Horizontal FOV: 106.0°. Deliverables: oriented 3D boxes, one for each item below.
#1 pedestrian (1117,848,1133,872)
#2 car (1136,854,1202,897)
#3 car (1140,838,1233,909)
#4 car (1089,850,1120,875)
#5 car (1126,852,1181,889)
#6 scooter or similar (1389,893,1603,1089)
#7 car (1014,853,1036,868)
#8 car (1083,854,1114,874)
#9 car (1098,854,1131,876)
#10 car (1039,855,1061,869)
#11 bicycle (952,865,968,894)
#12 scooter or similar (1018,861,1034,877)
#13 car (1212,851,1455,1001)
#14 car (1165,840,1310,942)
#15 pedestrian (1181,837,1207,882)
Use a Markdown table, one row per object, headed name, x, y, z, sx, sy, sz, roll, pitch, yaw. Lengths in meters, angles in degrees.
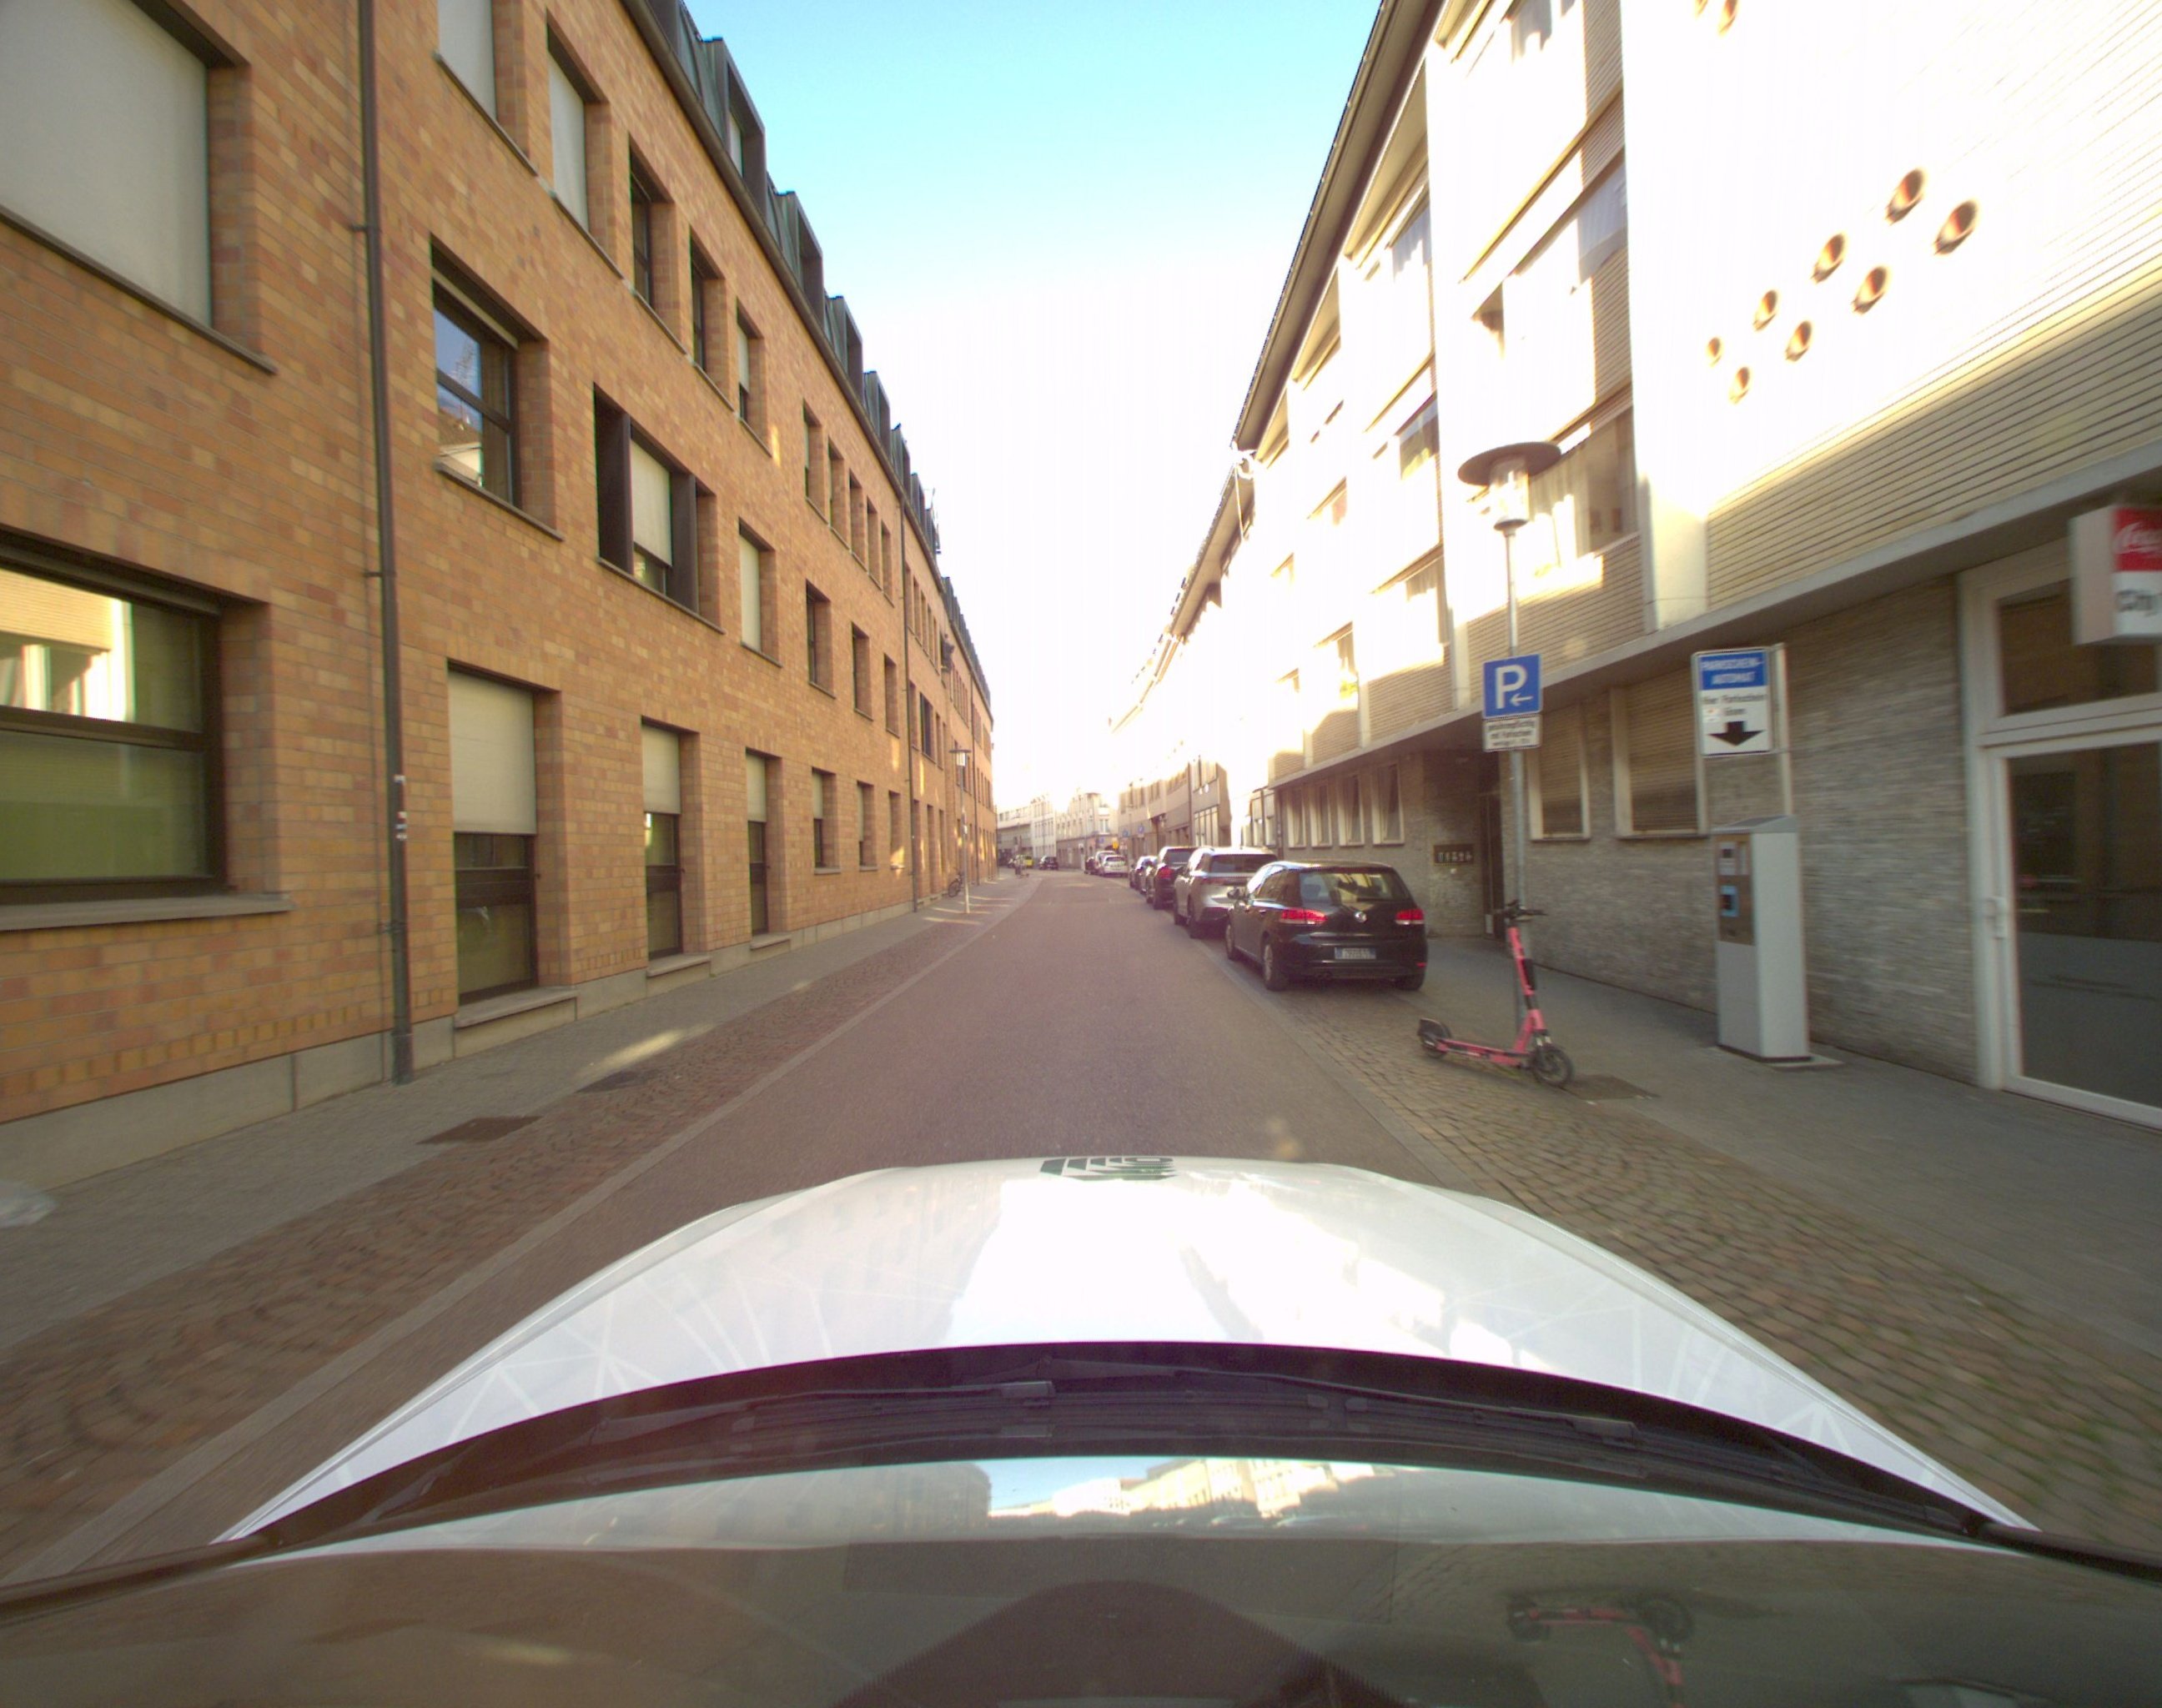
| name | x | y | z | sx | sy | sz | roll | pitch | yaw |
| --- | --- | --- | --- | --- | --- | --- | --- | --- | --- |
| pedestrian | 3.391 | 0.474 | 62.860 | 1.040 | 1.801 | 1.197 | -2 | -1 | -5 |
| car | 3.109 | 0.716 | 29.605 | 1.802 | 1.412 | 4.788 | 0 | 0 | -1 |
| car | 2.894 | 0.500 | 23.423 | 2.096 | 1.786 | 5.052 | -1 | 0 | 1 |
| car | 1.776 | 0.628 | 62.994 | 1.827 | 1.791 | 5.205 | -1 | 0 | -5 |
| car | 3.084 | 0.663 | 35.638 | 1.888 | 1.453 | 5.224 | -1 | 0 | 0 |
| scooter or similar | 2.941 | 0.907 | 5.886 | 0.495 | 1.194 | 1.295 | -2 | 0 | -28 |
| car | -7.900 | 0.967 | 114.583 | 2.058 | 2.013 | 4.151 | -2 | 0 | -17 |
| car | 1.438 | 0.837 | 68.927 | 1.888 | 1.518 | 4.050 | -2 | 0 | -9 |
| car | 2.300 | 0.728 | 56.719 | 1.837 | 1.478 | 4.160 | 0 | 0 | -5 |
| car | -3.803 | 0.951 | 98.531 | 1.969 | 1.692 | 4.084 | -1 | 0 | -12 |
| bicycle | -4.992 | 1.033 | 33.530 | 0.631 | 1.162 | 1.798 | 1 | 0 | -9 |
| scooter or similar | -4.492 | 1.240 | 66.677 | 0.691 | 1.217 | 1.364 | -3 | 0 | 23 |
| car | 2.945 | 0.728 | 10.602 | 1.816 | 1.504 | 4.600 | 1 | 0 | 1 |
| car | 2.861 | 0.619 | 16.019 | 1.987 | 1.702 | 4.843 | 0 | 0 | 1 |
| pedestrian | 4.470 | 0.213 | 32.231 | 0.786 | 1.721 | 0.746 | -4 | 0 | 0 |
